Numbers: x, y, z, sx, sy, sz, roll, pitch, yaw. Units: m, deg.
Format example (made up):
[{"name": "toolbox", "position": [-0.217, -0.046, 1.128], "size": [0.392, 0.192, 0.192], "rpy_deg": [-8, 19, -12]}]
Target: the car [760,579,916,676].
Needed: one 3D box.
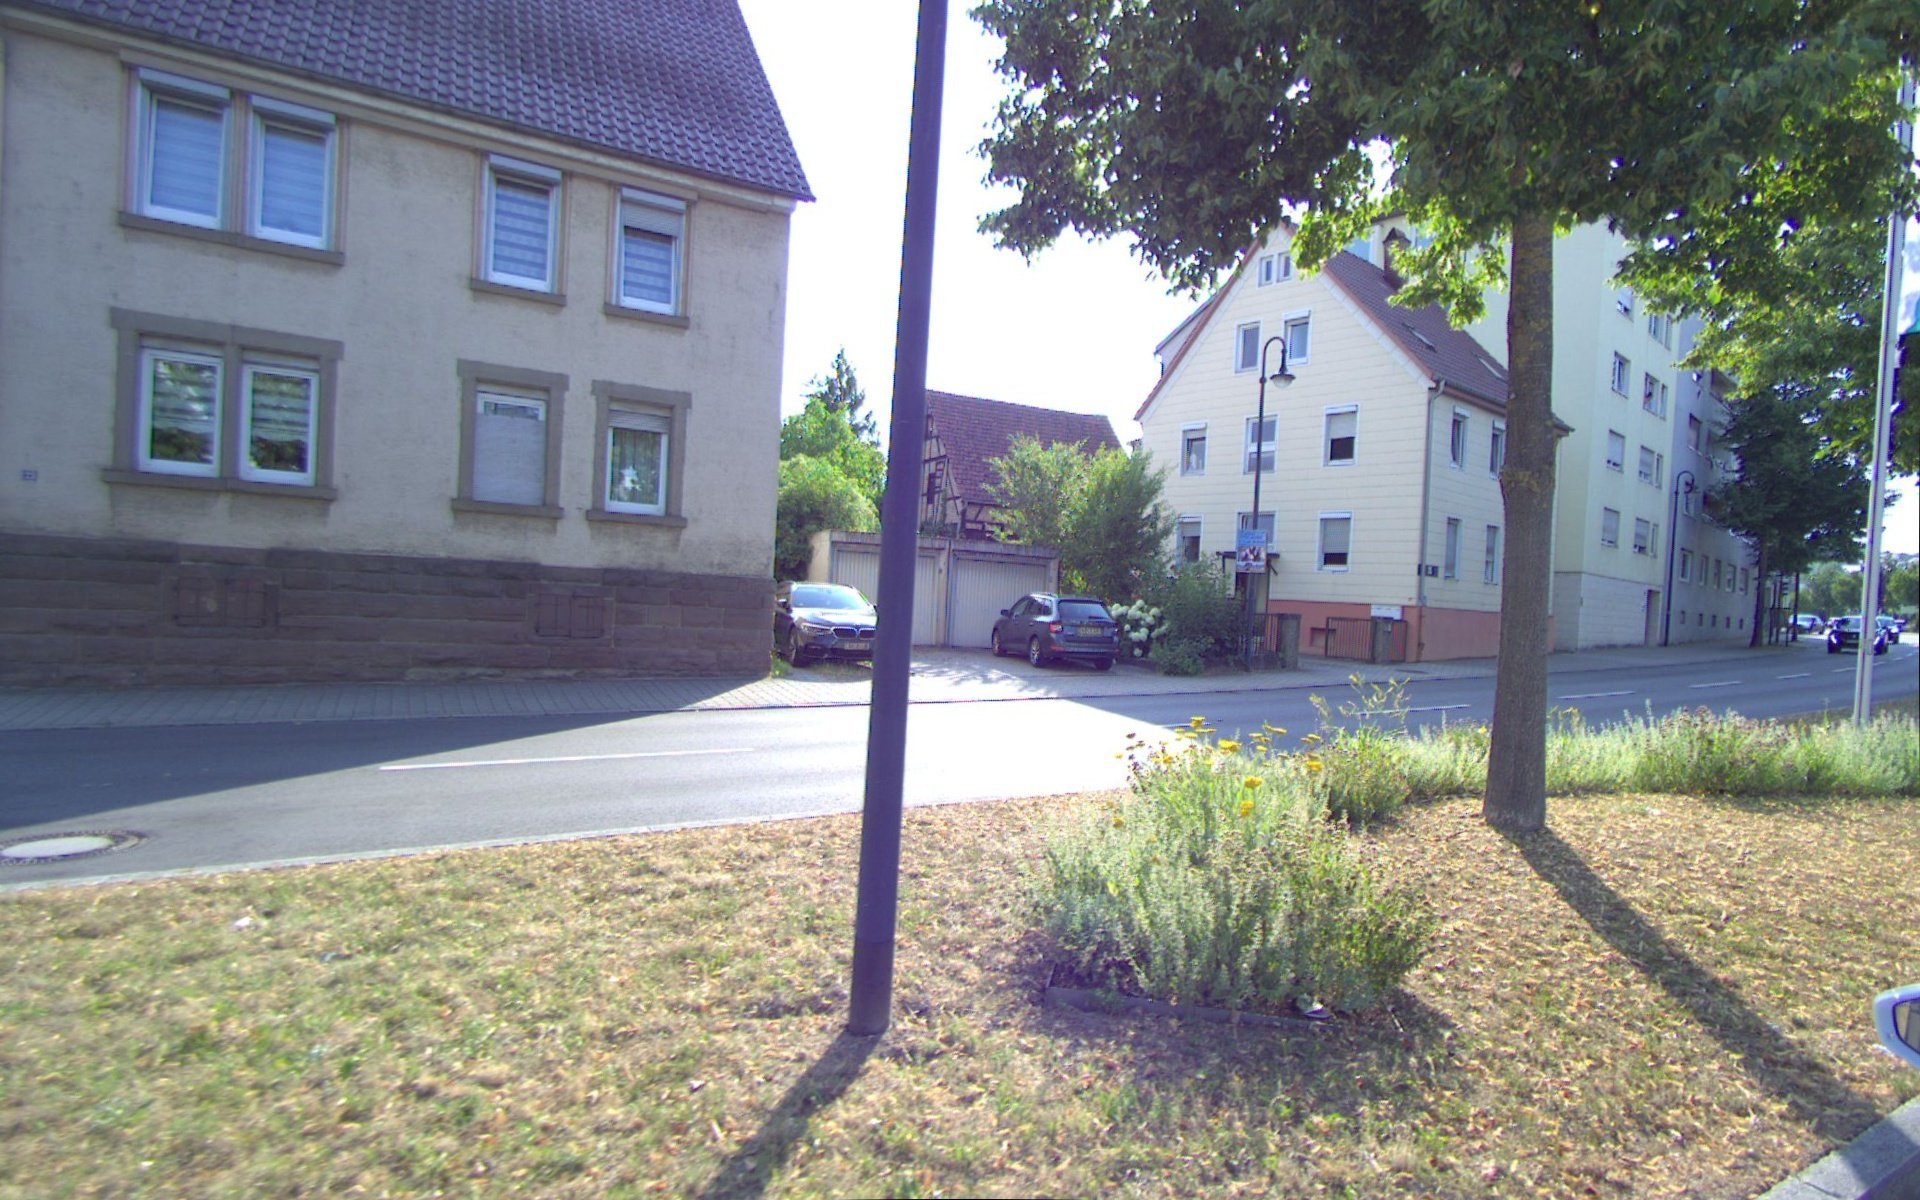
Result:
[{"name": "car", "position": [-2.391, 0.426, 18.530], "size": [1.980, 1.506, 4.341], "rpy_deg": [2, 1, -19]}]

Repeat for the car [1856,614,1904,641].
[{"name": "car", "position": [53.563, 1.581, 58.444], "size": [3.753, 1.506, 1.592], "rpy_deg": [1, 0, -40]}]

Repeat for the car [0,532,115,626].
[{"name": "car", "position": [-16.626, -0.419, 17.667], "size": [1.663, 1.506, 3.686], "rpy_deg": [2, 1, -23]}]

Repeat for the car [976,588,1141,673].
[{"name": "car", "position": [1.939, 0.572, 21.325], "size": [1.915, 1.506, 4.343], "rpy_deg": [1, 1, -18]}]

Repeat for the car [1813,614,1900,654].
[{"name": "car", "position": [38.432, 1.427, 43.030], "size": [4.285, 1.506, 1.925], "rpy_deg": [1, 3, -37]}]

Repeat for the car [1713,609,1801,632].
[{"name": "car", "position": [56.639, 1.427, 71.433], "size": [4.806, 1.456, 1.906], "rpy_deg": [1, 0, 43]}]

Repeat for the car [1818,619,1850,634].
[{"name": "car", "position": [110.567, 3.315, 127.148], "size": [2.184, 1.792, 4.446], "rpy_deg": [2, 0, 30]}]
